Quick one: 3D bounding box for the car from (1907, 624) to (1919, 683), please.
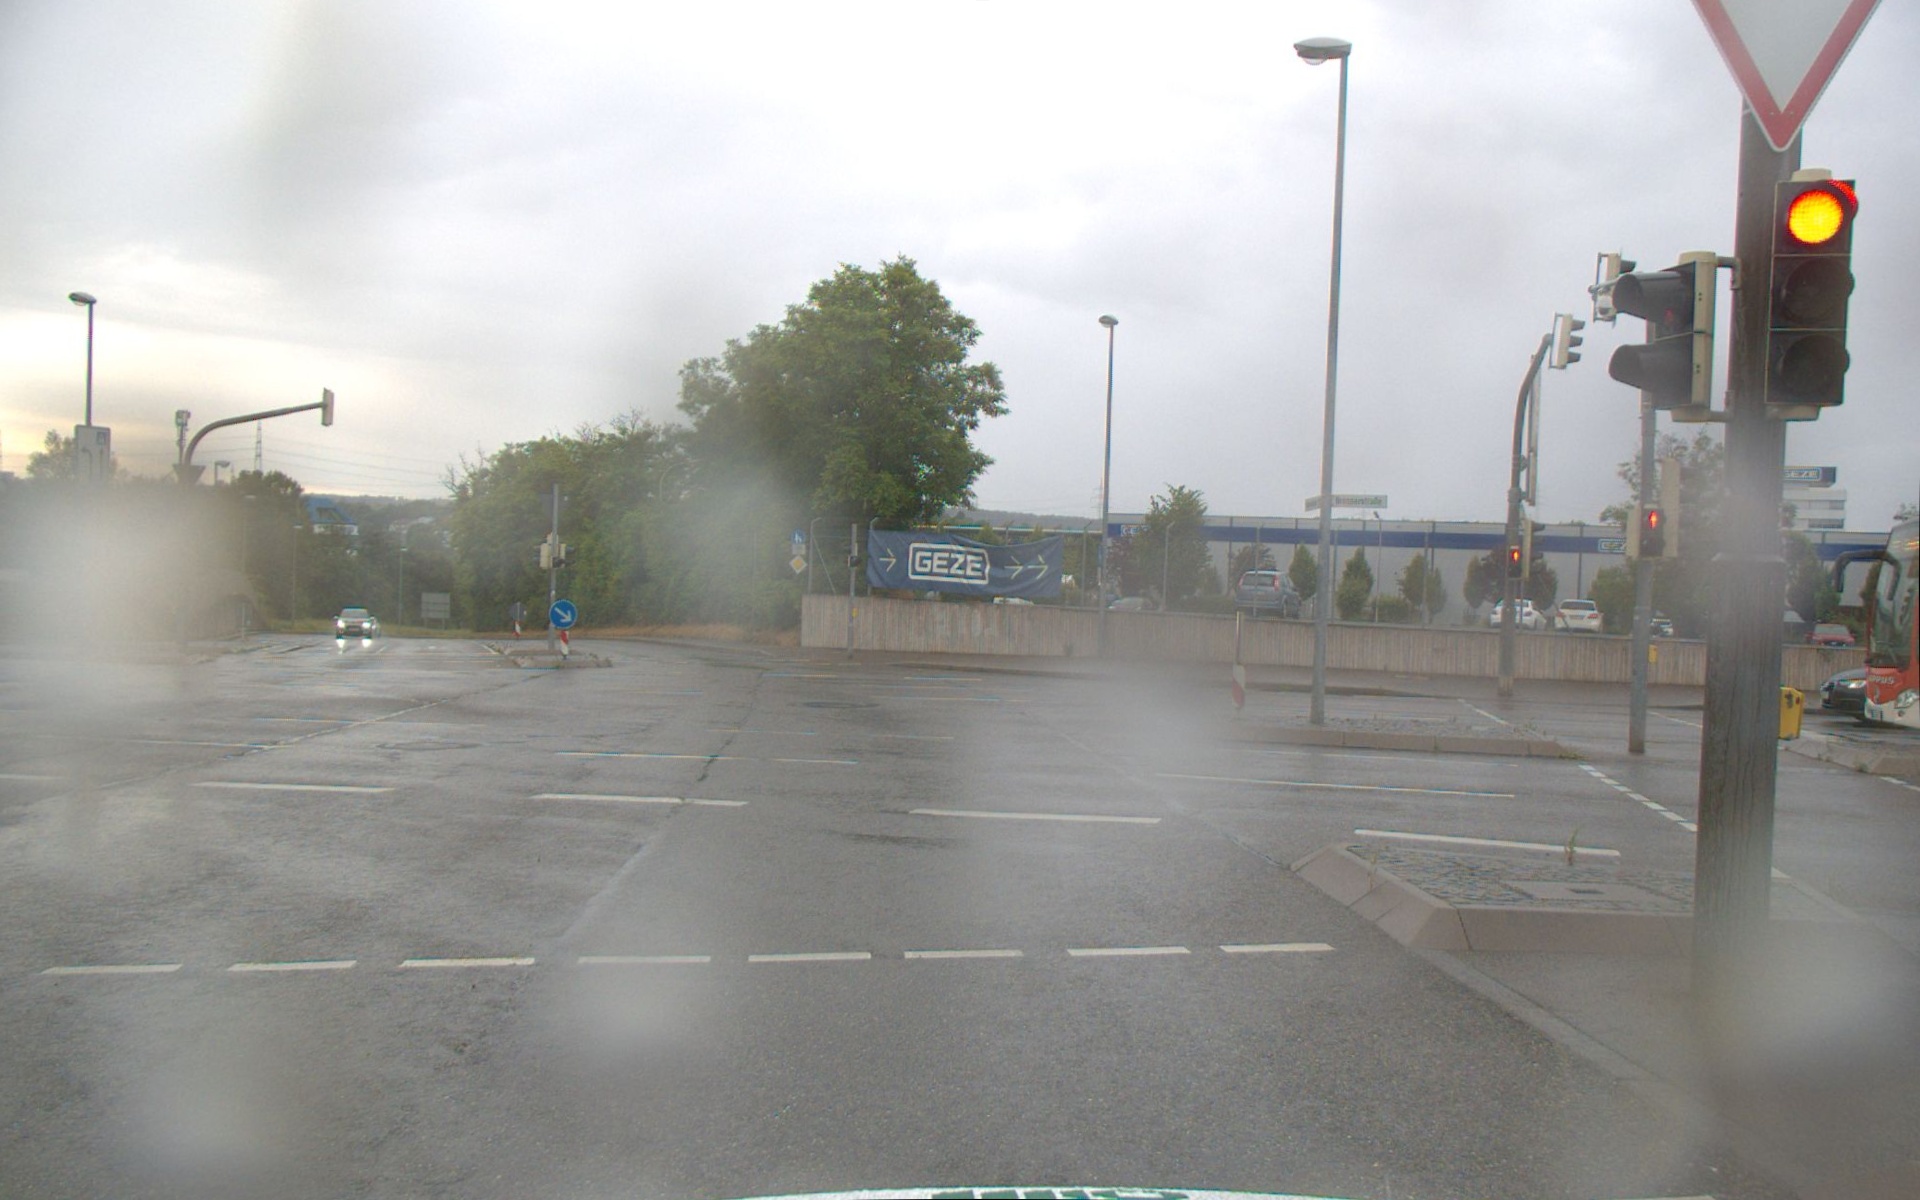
[{"bbox_3d":[34.681,1.910,58.241,1.707,2.049,3.824,1,0,20],"label":"car"}]

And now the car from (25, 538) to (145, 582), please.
[{"bbox_3d":[-35.829,-1.616,67.802,3.902,1.614,1.903,1,-2,8],"label":"car"}]

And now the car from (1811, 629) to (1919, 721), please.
[{"bbox_3d":[16.291,1.241,26.647,4.286,1.378,1.827,2,0,16],"label":"car"}]

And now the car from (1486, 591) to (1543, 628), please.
[{"bbox_3d":[23.056,0.410,68.665,1.781,1.459,4.100,1,0,25],"label":"car"}]

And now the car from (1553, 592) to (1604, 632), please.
[{"bbox_3d":[25.471,0.496,68.071,1.820,1.552,4.103,1,0,22],"label":"car"}]

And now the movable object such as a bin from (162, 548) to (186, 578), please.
[{"bbox_3d":[-40.939,-1.901,86.142,1.071,1.462,1.434,3,-2,-27],"label":"movable object such as a bin"}]

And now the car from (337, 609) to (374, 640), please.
[{"bbox_3d":[-30.689,1.249,83.941,1.638,1.521,3.973,1,-1,-22],"label":"car"}]

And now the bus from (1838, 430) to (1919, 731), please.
[{"bbox_3d":[17.596,0.075,19.808,11.995,3.638,2.988,3,0,17],"label":"bus"}]

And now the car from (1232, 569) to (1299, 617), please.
[{"bbox_3d":[10.669,-0.220,57.570,1.707,1.580,3.531,1,0,20],"label":"car"}]

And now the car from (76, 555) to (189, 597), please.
[{"bbox_3d":[-35.144,-1.028,70.301,3.902,1.614,1.903,1,-2,12],"label":"car"}]

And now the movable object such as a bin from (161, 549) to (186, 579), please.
[{"bbox_3d":[-41.587,-1.908,87.441,1.071,1.462,1.434,3,-2,-27],"label":"movable object such as a bin"}]

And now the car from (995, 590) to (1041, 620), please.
[{"bbox_3d":[3.376,0.299,95.918,1.632,1.634,3.531,1,0,20],"label":"car"}]

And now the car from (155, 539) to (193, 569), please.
[{"bbox_3d":[-44.859,-2.600,94.399,1.806,1.467,3.964,3,-2,-27],"label":"car"}]
